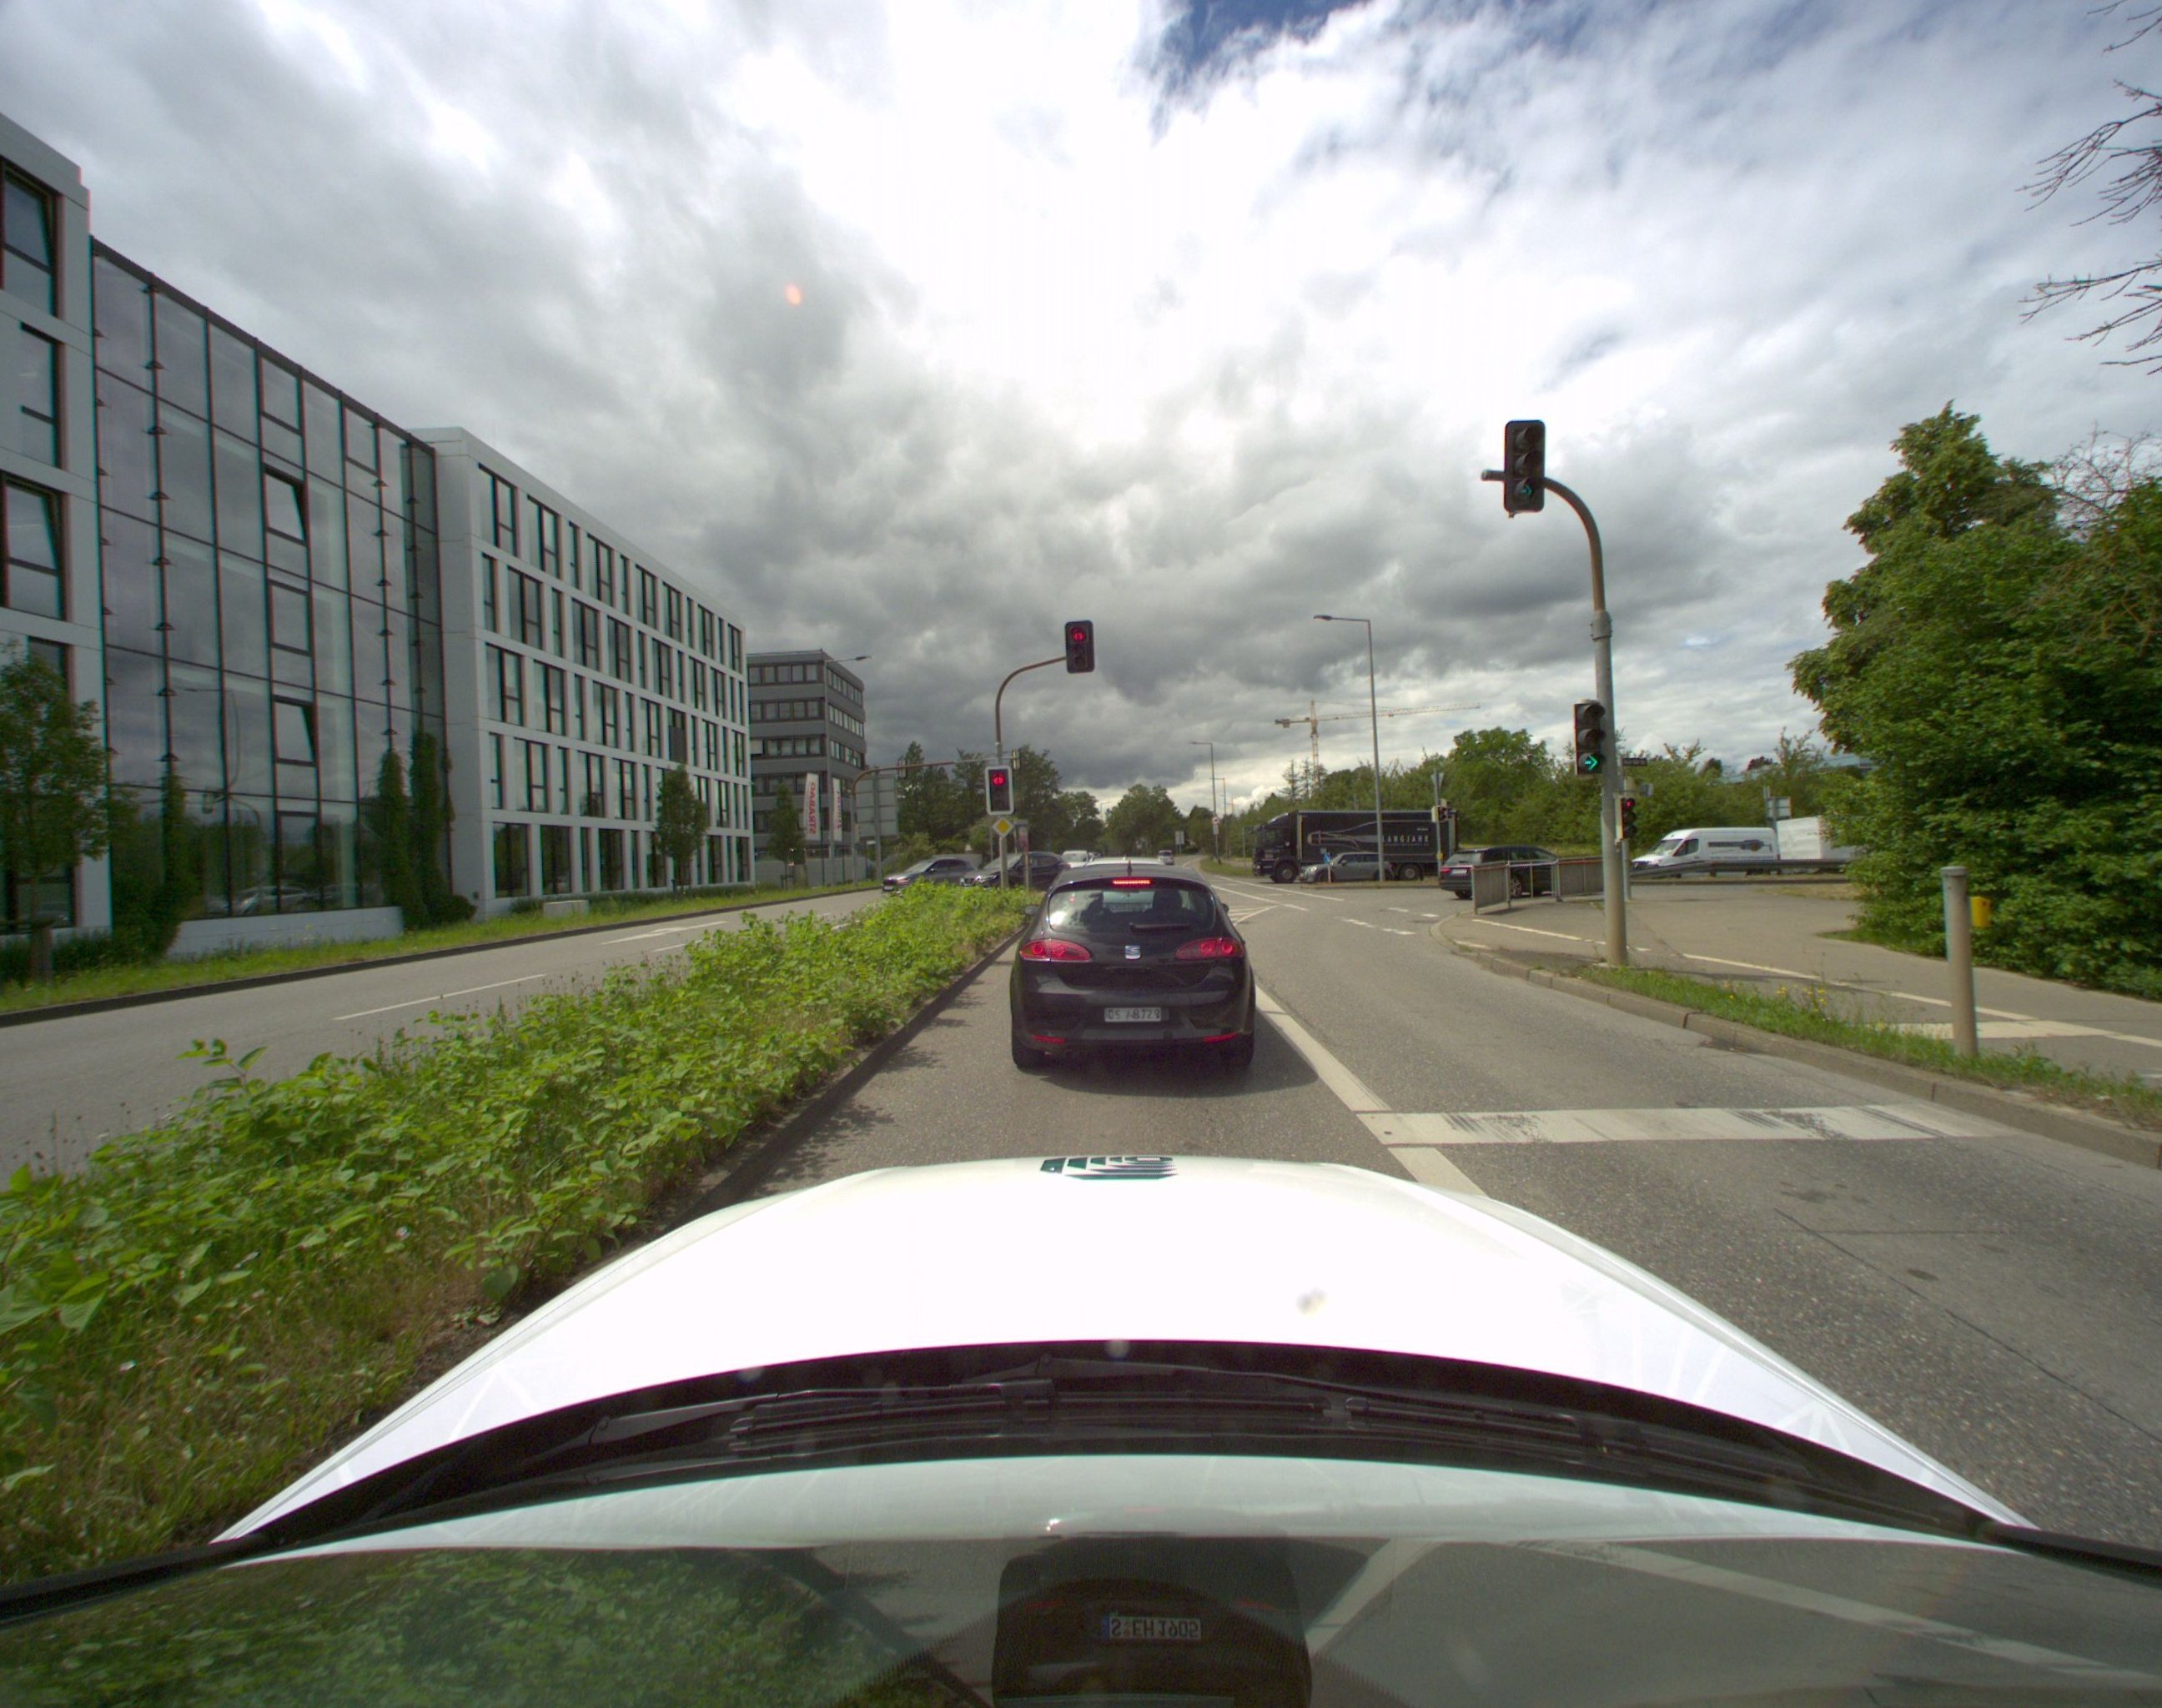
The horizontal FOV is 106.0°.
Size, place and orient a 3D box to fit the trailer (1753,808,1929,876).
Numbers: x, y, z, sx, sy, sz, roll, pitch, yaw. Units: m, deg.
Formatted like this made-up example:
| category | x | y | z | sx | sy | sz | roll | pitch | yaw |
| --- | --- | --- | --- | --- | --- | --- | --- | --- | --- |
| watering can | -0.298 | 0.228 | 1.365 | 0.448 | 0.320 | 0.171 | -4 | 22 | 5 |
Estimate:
| category | x | y | z | sx | sy | sz | roll | pitch | yaw |
| --- | --- | --- | --- | --- | --- | --- | --- | --- | --- |
| trailer | 34.696 | -0.527 | 37.332 | 5.742 | 2.806 | 2.249 | -2 | 0 | 3 |

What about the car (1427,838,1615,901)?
| category | x | y | z | sx | sy | sz | roll | pitch | yaw |
| --- | --- | --- | --- | --- | --- | --- | --- | --- | --- |
| car | 12.559 | 0.400 | 23.201 | 5.206 | 1.440 | 1.864 | -3 | 0 | -23 |

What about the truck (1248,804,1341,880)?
| category | x | y | z | sx | sy | sz | roll | pitch | yaw |
| --- | --- | --- | --- | --- | --- | --- | --- | --- | --- |
| truck | 10.206 | -0.574 | 39.214 | 3.968 | 3.469 | 2.003 | -1 | 0 | 4 |

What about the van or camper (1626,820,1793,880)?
| category | x | y | z | sx | sy | sz | roll | pitch | yaw |
| --- | --- | --- | --- | --- | --- | --- | --- | --- | --- |
| van or camper | 28.900 | -0.192 | 37.616 | 5.891 | 2.532 | 2.251 | -1 | 0 | 3 |

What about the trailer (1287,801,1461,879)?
| category | x | y | z | sx | sy | sz | roll | pitch | yaw |
| --- | --- | --- | --- | --- | --- | --- | --- | --- | --- |
| trailer | 13.884 | -0.664 | 38.967 | 7.549 | 3.458 | 2.003 | -1 | 0 | 4 |

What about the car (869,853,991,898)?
| category | x | y | z | sx | sy | sz | roll | pitch | yaw |
| --- | --- | --- | --- | --- | --- | --- | --- | --- | --- |
| car | -5.898 | 0.820 | 32.210 | 4.343 | 1.525 | 1.975 | -2 | 0 | -44 |

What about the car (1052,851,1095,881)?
| category | x | y | z | sx | sy | sz | roll | pitch | yaw |
| --- | --- | --- | --- | --- | --- | --- | --- | --- | --- |
| car | -0.375 | 0.638 | 45.815 | 1.984 | 1.596 | 4.006 | -2 | 0 | 5 |

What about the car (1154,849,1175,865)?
| category | x | y | z | sx | sy | sz | roll | pitch | yaw |
| --- | --- | --- | --- | --- | --- | --- | --- | --- | --- |
| car | 8.528 | 0.255 | 82.946 | 1.984 | 1.530 | 4.007 | -2 | 0 | 6 |

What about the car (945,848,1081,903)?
| category | x | y | z | sx | sy | sz | roll | pitch | yaw |
| --- | --- | --- | --- | --- | --- | --- | --- | --- | --- |
| car | -2.208 | 0.679 | 27.508 | 1.975 | 1.615 | 4.345 | -3 | 0 | 43 |

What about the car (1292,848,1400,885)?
| category | x | y | z | sx | sy | sz | roll | pitch | yaw |
| --- | --- | --- | --- | --- | --- | --- | --- | --- | --- |
| car | 11.313 | 0.517 | 34.934 | 3.974 | 1.420 | 2.000 | -1 | 0 | 0 |

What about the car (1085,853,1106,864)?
| category | x | y | z | sx | sy | sz | roll | pitch | yaw |
| --- | --- | --- | --- | --- | --- | --- | --- | --- | --- |
| car | 1.890 | 0.579 | 105.076 | 1.981 | 1.352 | 4.011 | -1 | 0 | 10 |

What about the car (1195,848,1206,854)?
| category | x | y | z | sx | sy | sz | roll | pitch | yaw |
| --- | --- | --- | --- | --- | --- | --- | --- | --- | --- |
| car | 26.655 | -0.656 | 181.548 | 1.979 | 1.352 | 4.015 | -1 | 0 | 13 |

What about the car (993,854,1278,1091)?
| category | x | y | z | sx | sy | sz | roll | pitch | yaw |
| --- | --- | --- | --- | --- | --- | --- | --- | --- | --- |
| car | 0.397 | 0.752 | 6.927 | 1.766 | 1.452 | 3.583 | -1 | 0 | 2 |

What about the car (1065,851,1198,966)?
| category | x | y | z | sx | sy | sz | roll | pitch | yaw |
| --- | --- | --- | --- | --- | --- | --- | --- | --- | --- |
| car | 0.692 | 0.744 | 13.014 | 1.768 | 1.491 | 3.581 | -3 | 0 | 0 |

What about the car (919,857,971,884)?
| category | x | y | z | sx | sy | sz | roll | pitch | yaw |
| --- | --- | --- | --- | --- | --- | --- | --- | --- | --- |
| car | -7.287 | 0.852 | 44.054 | 1.986 | 1.352 | 4.002 | -1 | 0 | 2 |
